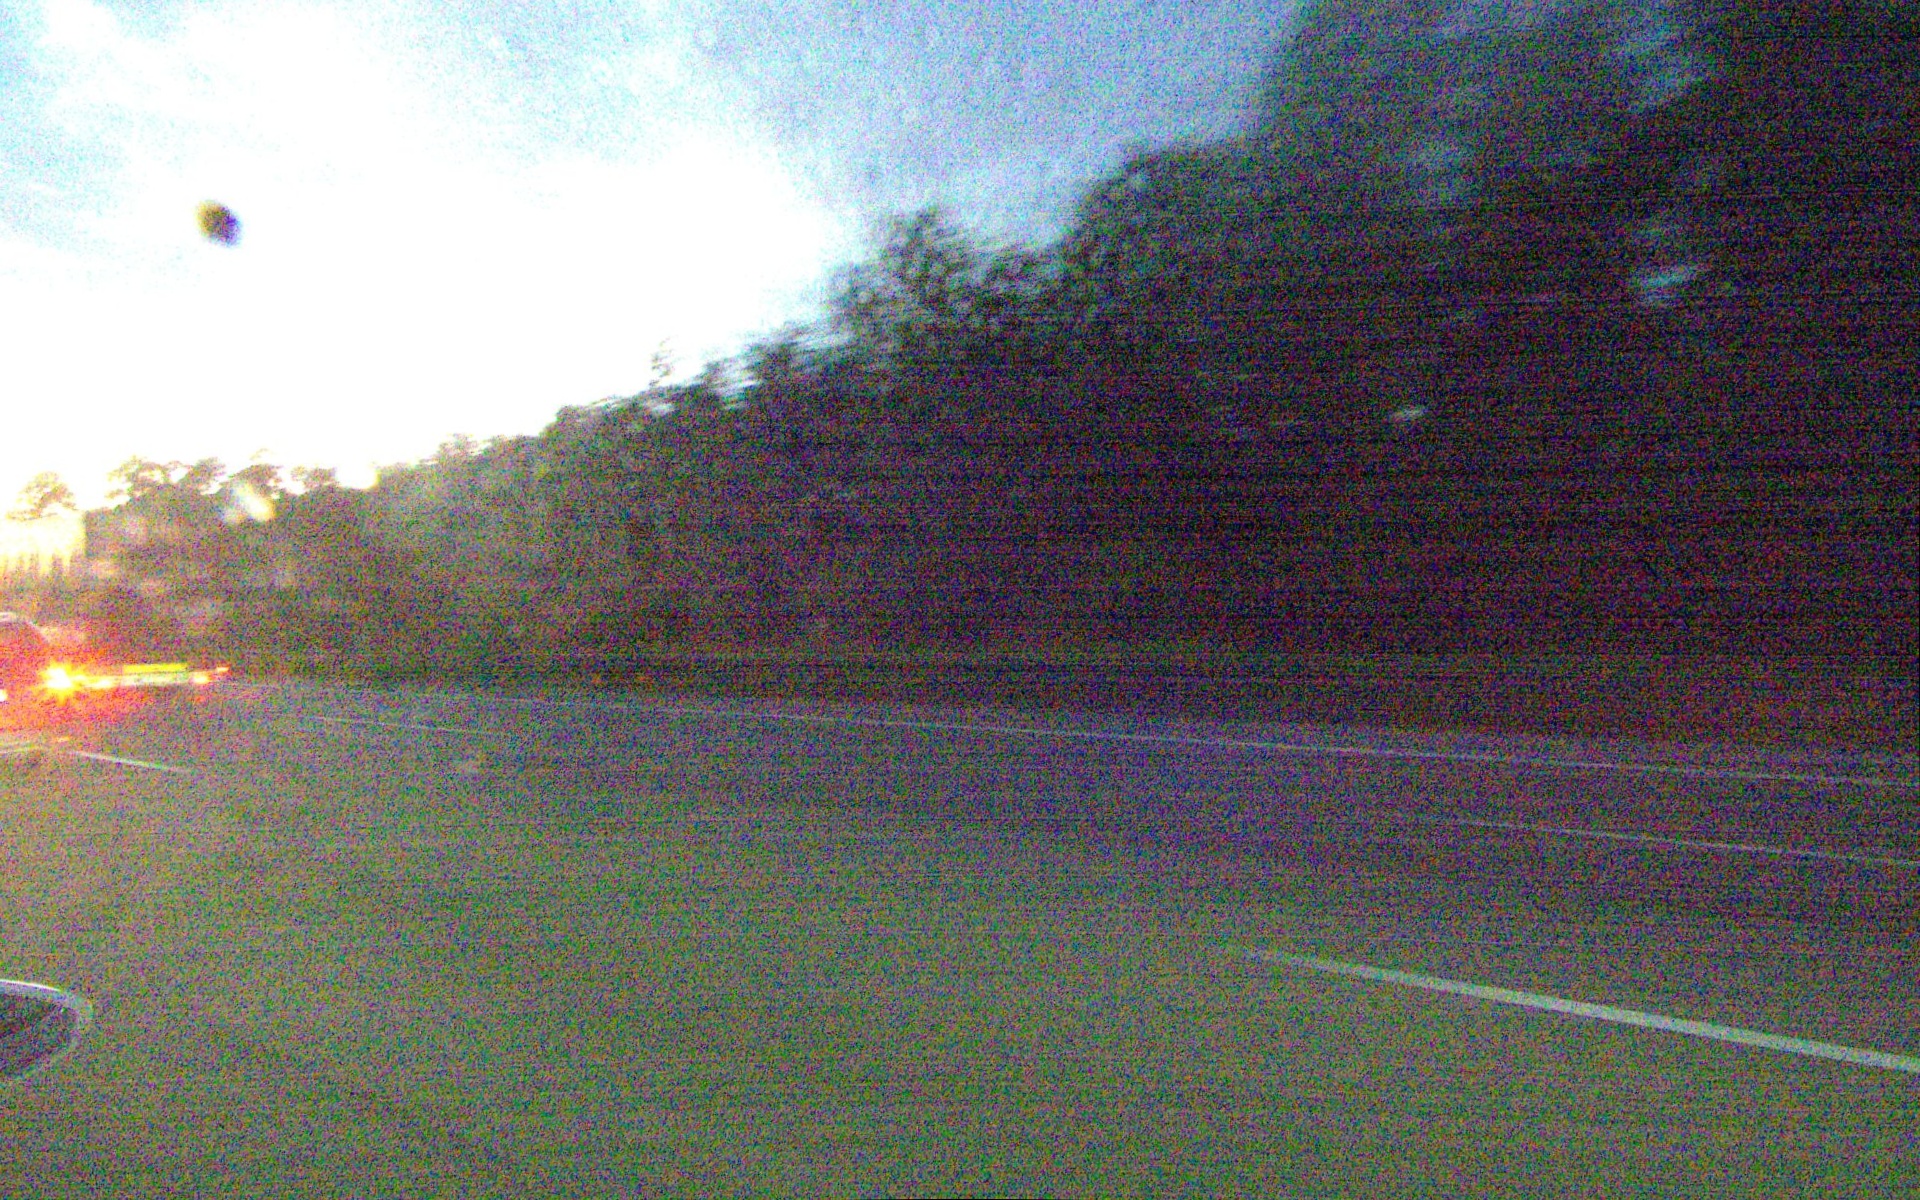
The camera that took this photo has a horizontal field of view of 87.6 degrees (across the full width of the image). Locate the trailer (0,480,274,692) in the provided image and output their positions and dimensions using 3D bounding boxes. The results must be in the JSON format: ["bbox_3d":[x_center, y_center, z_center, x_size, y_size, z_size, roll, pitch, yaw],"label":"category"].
[{"bbox_3d":[-20.112,-0.145,23.732,10.217,4.153,2.900,-1,-1,34],"label":"trailer"}]

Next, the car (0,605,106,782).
[{"bbox_3d":[-11.188,0.896,10.641,4.981,1.665,1.899,0,0,33],"label":"car"}]

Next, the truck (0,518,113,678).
[{"bbox_3d":[-28.745,0.070,29.659,10.685,4.153,2.878,-1,-1,34],"label":"truck"}]
